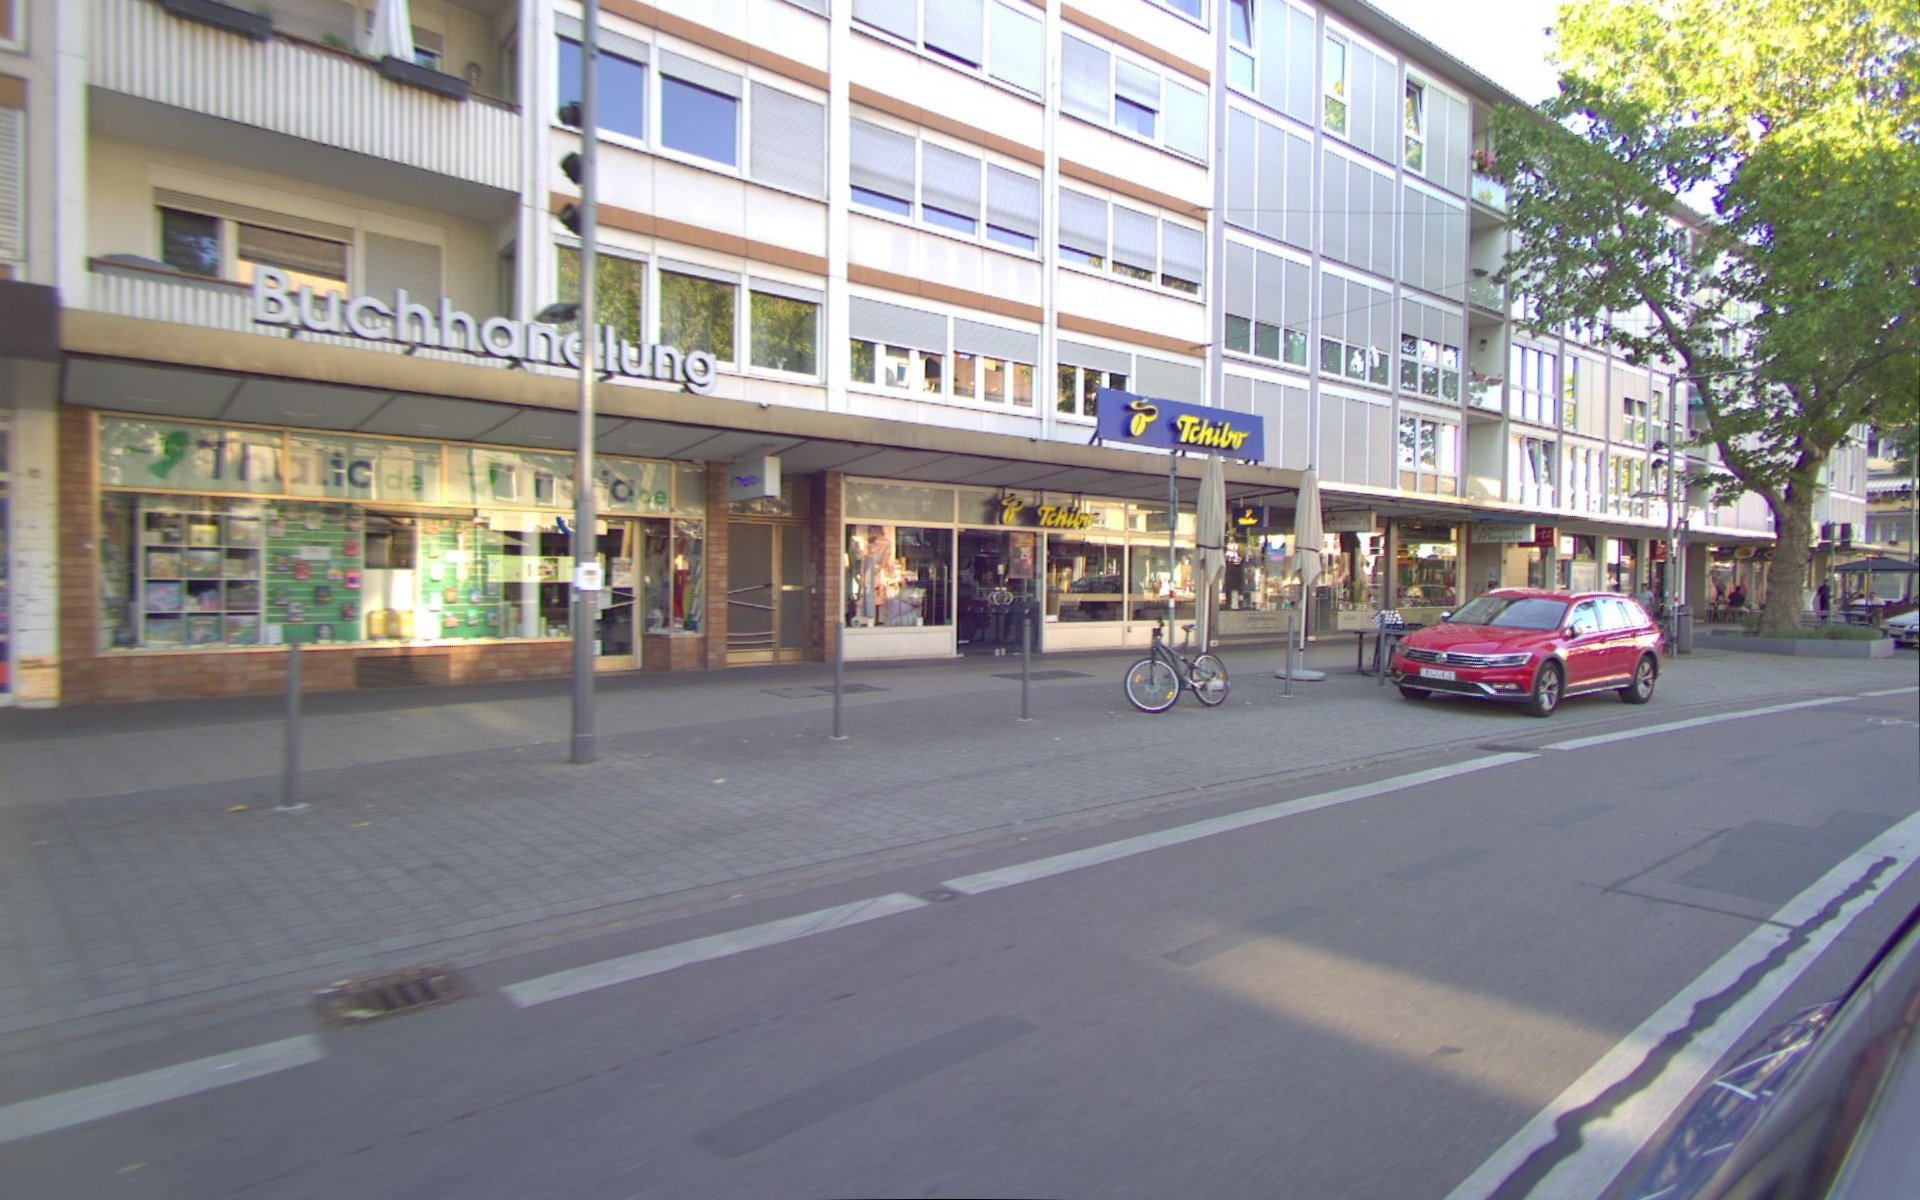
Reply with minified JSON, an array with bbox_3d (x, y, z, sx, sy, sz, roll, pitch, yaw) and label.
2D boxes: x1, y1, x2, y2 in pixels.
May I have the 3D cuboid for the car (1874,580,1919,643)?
[{"bbox_3d":[27.164,0.324,26.864,3.931,1.626,1.807,1,1,7],"label":"car"}]

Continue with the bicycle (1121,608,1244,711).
[{"bbox_3d":[2.632,0.665,11.885,1.632,1.083,0.512,0,3,-41],"label":"bicycle"}]

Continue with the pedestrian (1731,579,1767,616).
[{"bbox_3d":[29.756,-0.115,38.170,0.943,1.379,0.751,0,1,-32],"label":"pedestrian"}]

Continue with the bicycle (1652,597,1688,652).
[{"bbox_3d":[15.125,0.501,21.552,0.294,1.114,1.691,5,4,44],"label":"bicycle"}]

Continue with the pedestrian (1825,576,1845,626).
[{"bbox_3d":[36.242,0.038,41.916,0.549,2.039,0.569,-1,-1,40],"label":"pedestrian"}]

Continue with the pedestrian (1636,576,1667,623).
[{"bbox_3d":[21.435,-0.016,31.381,0.674,1.417,0.539,-1,3,-37],"label":"pedestrian"}]

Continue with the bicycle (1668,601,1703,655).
[{"bbox_3d":[15.300,0.566,21.330,0.294,1.053,1.691,5,4,44],"label":"bicycle"}]

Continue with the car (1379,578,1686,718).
[{"bbox_3d":[7.706,0.514,13.482,4.481,1.514,1.785,0,3,-35],"label":"car"}]

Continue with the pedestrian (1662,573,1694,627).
[{"bbox_3d":[21.807,-0.015,30.753,0.674,1.610,0.539,-1,3,-37],"label":"pedestrian"}]
